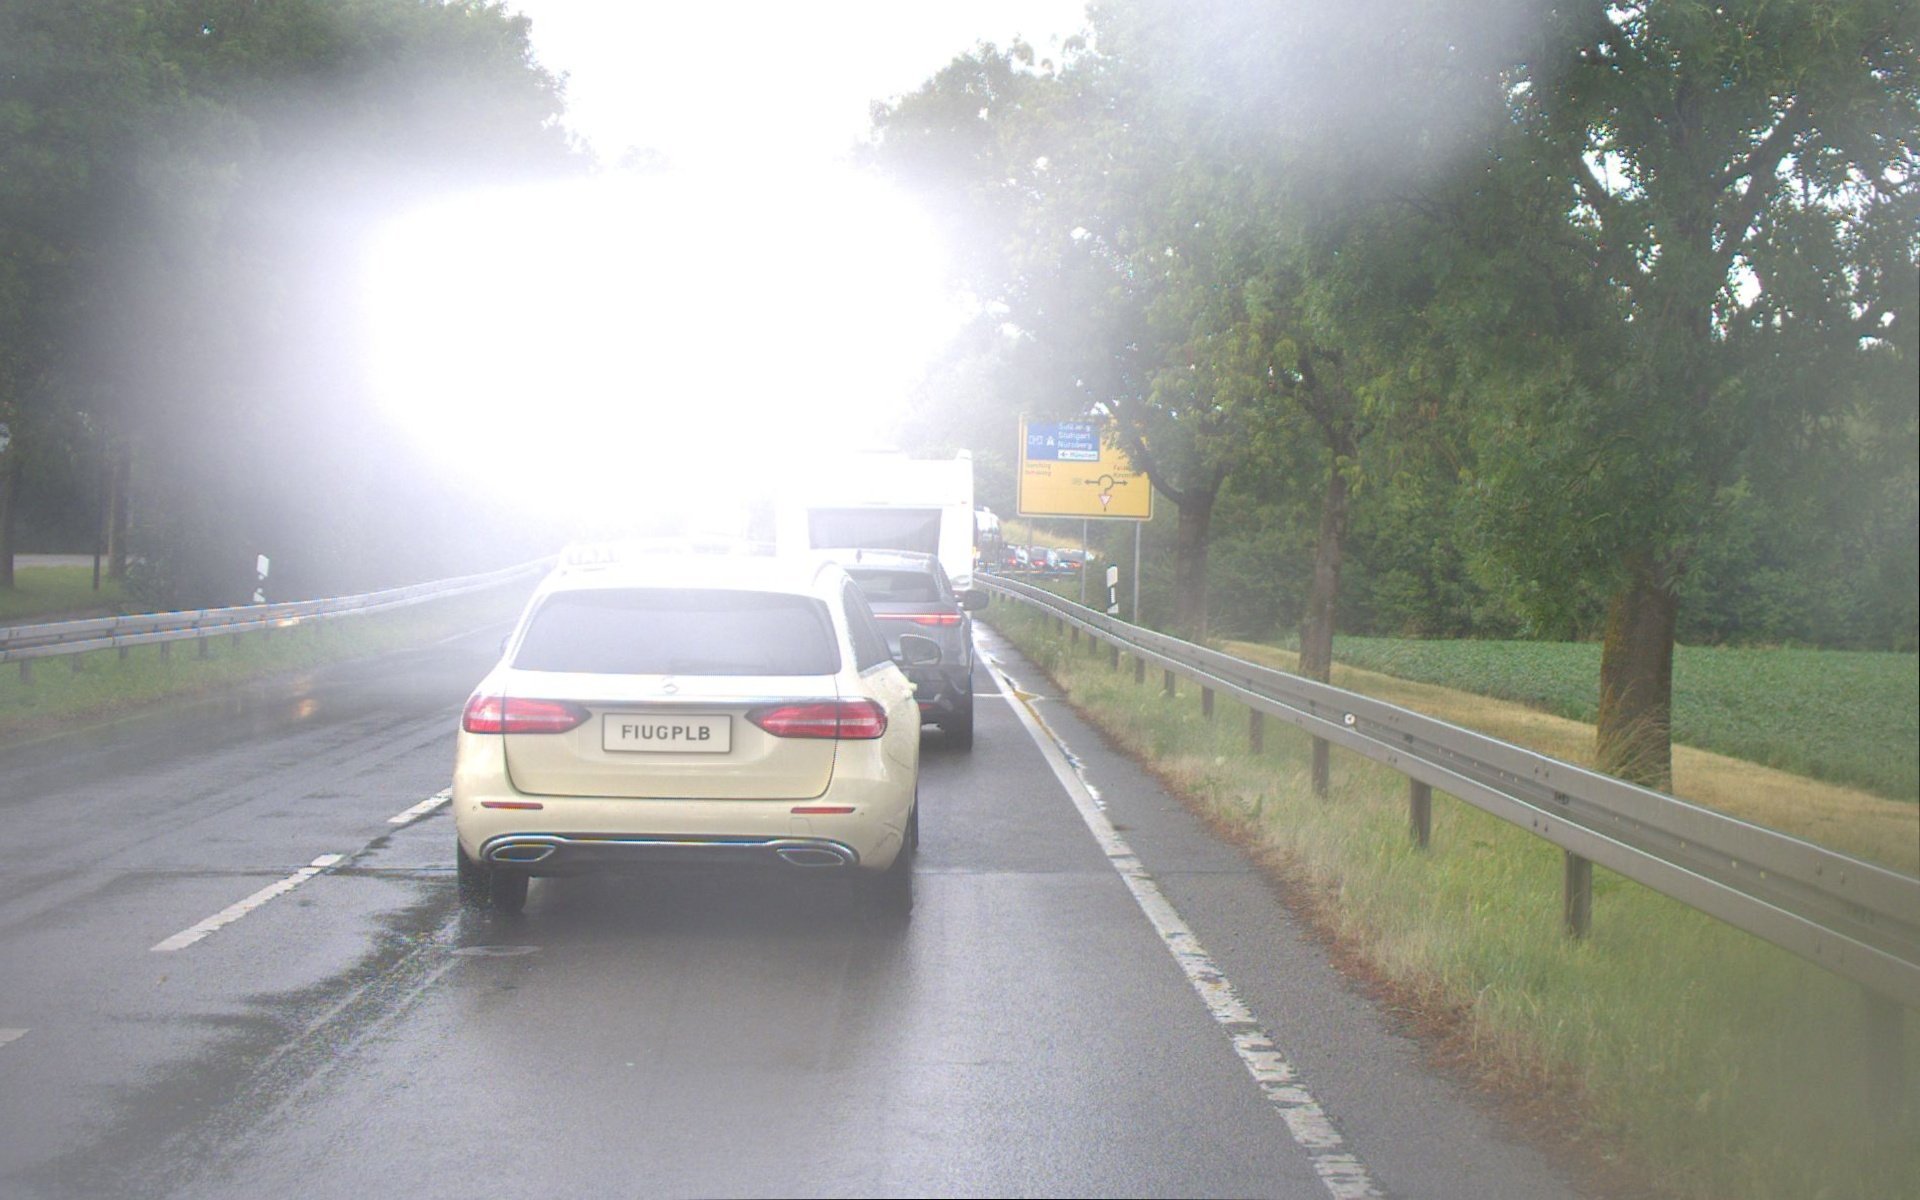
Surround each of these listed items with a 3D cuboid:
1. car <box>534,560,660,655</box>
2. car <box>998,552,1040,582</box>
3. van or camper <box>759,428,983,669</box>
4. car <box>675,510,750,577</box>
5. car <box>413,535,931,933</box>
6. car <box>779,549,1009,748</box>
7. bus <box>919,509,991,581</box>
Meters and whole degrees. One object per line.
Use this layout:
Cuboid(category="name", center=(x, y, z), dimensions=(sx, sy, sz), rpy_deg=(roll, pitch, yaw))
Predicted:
Cuboid(category="car", center=(-5.966, 0.097, 56.813), dimensions=(1.714, 1.446, 4.111), rpy_deg=(1, 1, -1))
Cuboid(category="car", center=(2.253, -1.260, 131.888), dimensions=(1.551, 1.114, 4.000), rpy_deg=(1, 1, 0))
Cuboid(category="van or camper", center=(-0.996, -0.633, 41.834), dimensions=(2.489, 2.676, 5.700), rpy_deg=(1, 1, 0))
Cuboid(category="car", center=(-6.774, -1.563, 94.451), dimensions=(1.828, 1.796, 4.415), rpy_deg=(0, 1, -1))
Cuboid(category="car", center=(-1.092, 0.465, 14.828), dimensions=(1.865, 1.471, 4.000), rpy_deg=(0, 1, 0))
Cuboid(category="car", center=(-0.466, 0.325, 27.008), dimensions=(1.664, 1.426, 4.000), rpy_deg=(0, 1, 0))
Cuboid(category="bus", center=(-0.151, -1.589, 98.533), dimensions=(1.993, 2.007, 4.000), rpy_deg=(0, 1, -1))
